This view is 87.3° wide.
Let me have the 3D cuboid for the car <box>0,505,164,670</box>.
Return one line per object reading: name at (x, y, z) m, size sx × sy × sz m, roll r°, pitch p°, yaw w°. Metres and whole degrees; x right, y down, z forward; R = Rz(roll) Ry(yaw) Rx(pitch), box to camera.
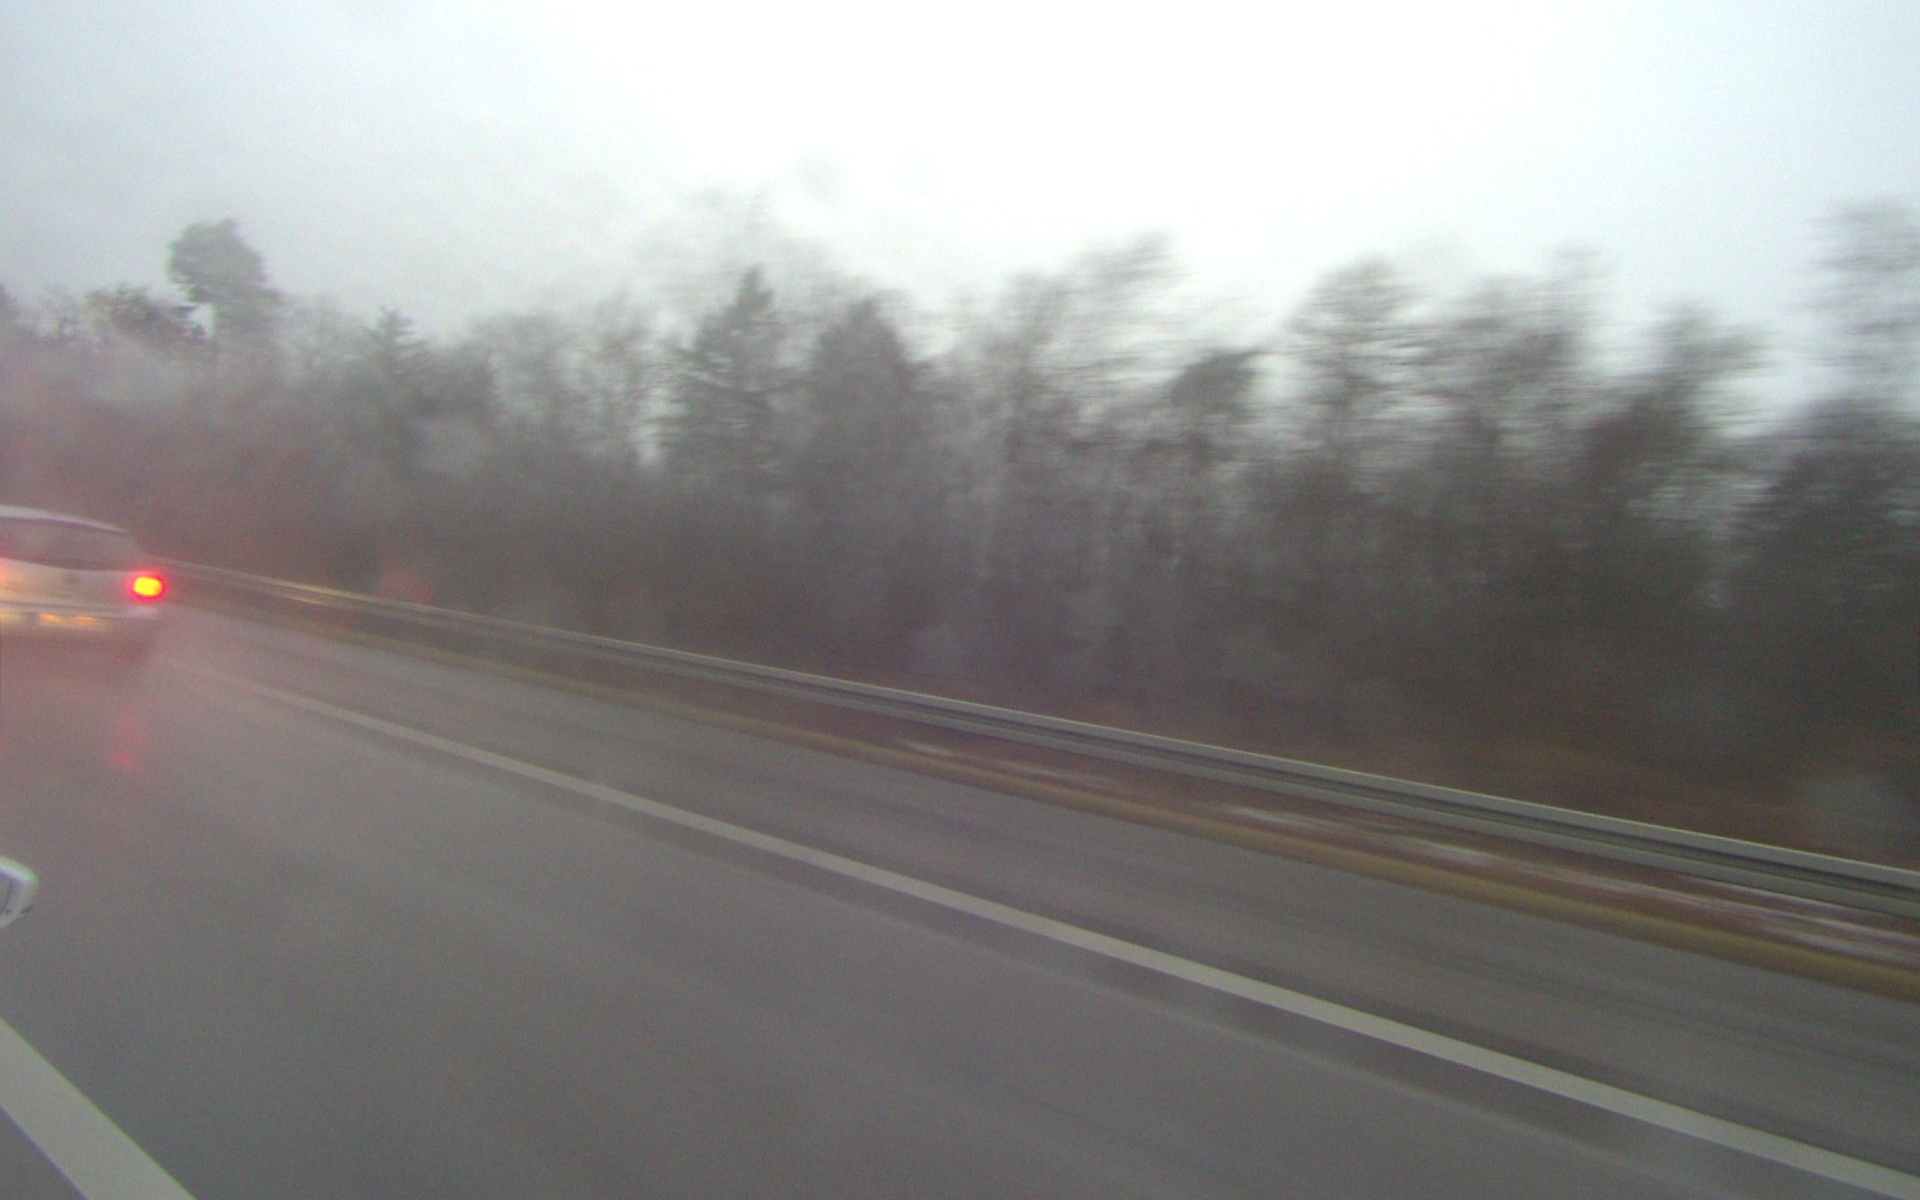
car at (-10.066, -0.271, 10.342) m, size 3.479 × 1.454 × 1.783 m, roll 7°, pitch -2°, yaw 32°
